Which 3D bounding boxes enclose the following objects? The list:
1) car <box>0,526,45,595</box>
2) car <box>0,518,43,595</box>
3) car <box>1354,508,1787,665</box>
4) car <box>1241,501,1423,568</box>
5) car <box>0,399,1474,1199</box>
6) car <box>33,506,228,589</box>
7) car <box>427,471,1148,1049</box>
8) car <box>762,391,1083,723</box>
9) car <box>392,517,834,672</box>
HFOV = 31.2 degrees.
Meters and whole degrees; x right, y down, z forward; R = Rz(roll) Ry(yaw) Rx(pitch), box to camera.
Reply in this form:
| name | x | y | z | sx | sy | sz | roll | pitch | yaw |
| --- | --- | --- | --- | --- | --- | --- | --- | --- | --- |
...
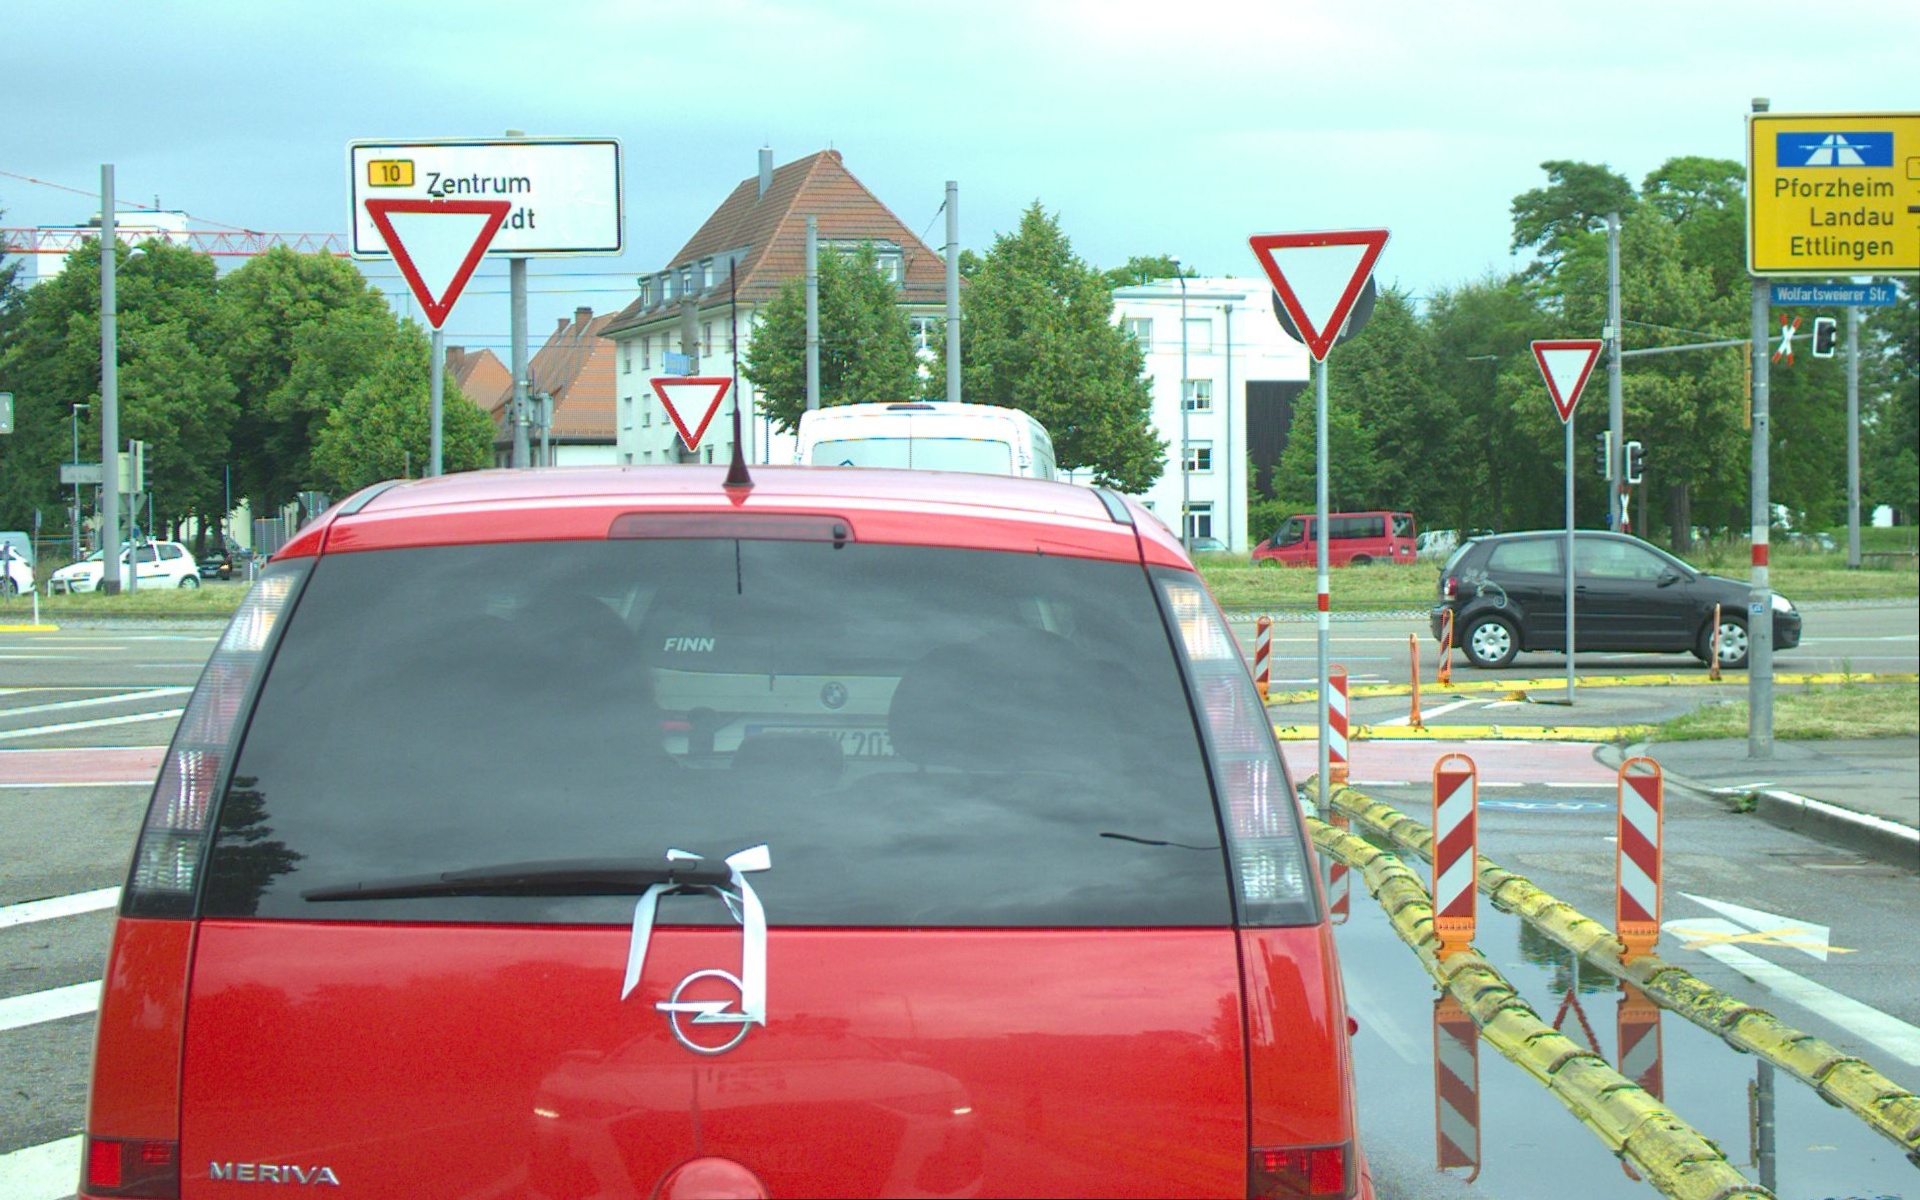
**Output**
| name | x | y | z | sx | sy | sz | roll | pitch | yaw |
| --- | --- | --- | --- | --- | --- | --- | --- | --- | --- |
| car | -23.961 | -0.906 | 80.595 | 1.997 | 1.629 | 4.666 | 0 | 1 | 35 |
| car | -26.810 | -1.130 | 91.081 | 4.463 | 2.007 | 2.000 | -1 | 1 | -30 |
| car | 6.511 | -0.155 | 36.839 | 4.427 | 1.597 | 2.098 | 0 | 1 | 10 |
| car | 10.946 | -1.911 | 101.210 | 4.883 | 1.911 | 2.112 | 0 | 1 | 34 |
| car | -0.318 | 0.572 | 5.500 | 1.673 | 1.635 | 3.627 | 1 | 1 | -1 |
| car | -20.505 | -1.314 | 85.162 | 1.997 | 2.007 | 4.471 | 0 | 1 | 35 |
| car | -0.525 | 0.412 | 12.198 | 2.059 | 1.642 | 4.607 | 1 | 1 | -1 |
| car | -0.206 | -0.388 | 28.983 | 2.195 | 2.531 | 4.961 | 1 | 1 | 5 |
| car | -3.729 | -0.072 | 37.445 | 4.427 | 1.597 | 2.098 | -1 | 1 | 7 |
